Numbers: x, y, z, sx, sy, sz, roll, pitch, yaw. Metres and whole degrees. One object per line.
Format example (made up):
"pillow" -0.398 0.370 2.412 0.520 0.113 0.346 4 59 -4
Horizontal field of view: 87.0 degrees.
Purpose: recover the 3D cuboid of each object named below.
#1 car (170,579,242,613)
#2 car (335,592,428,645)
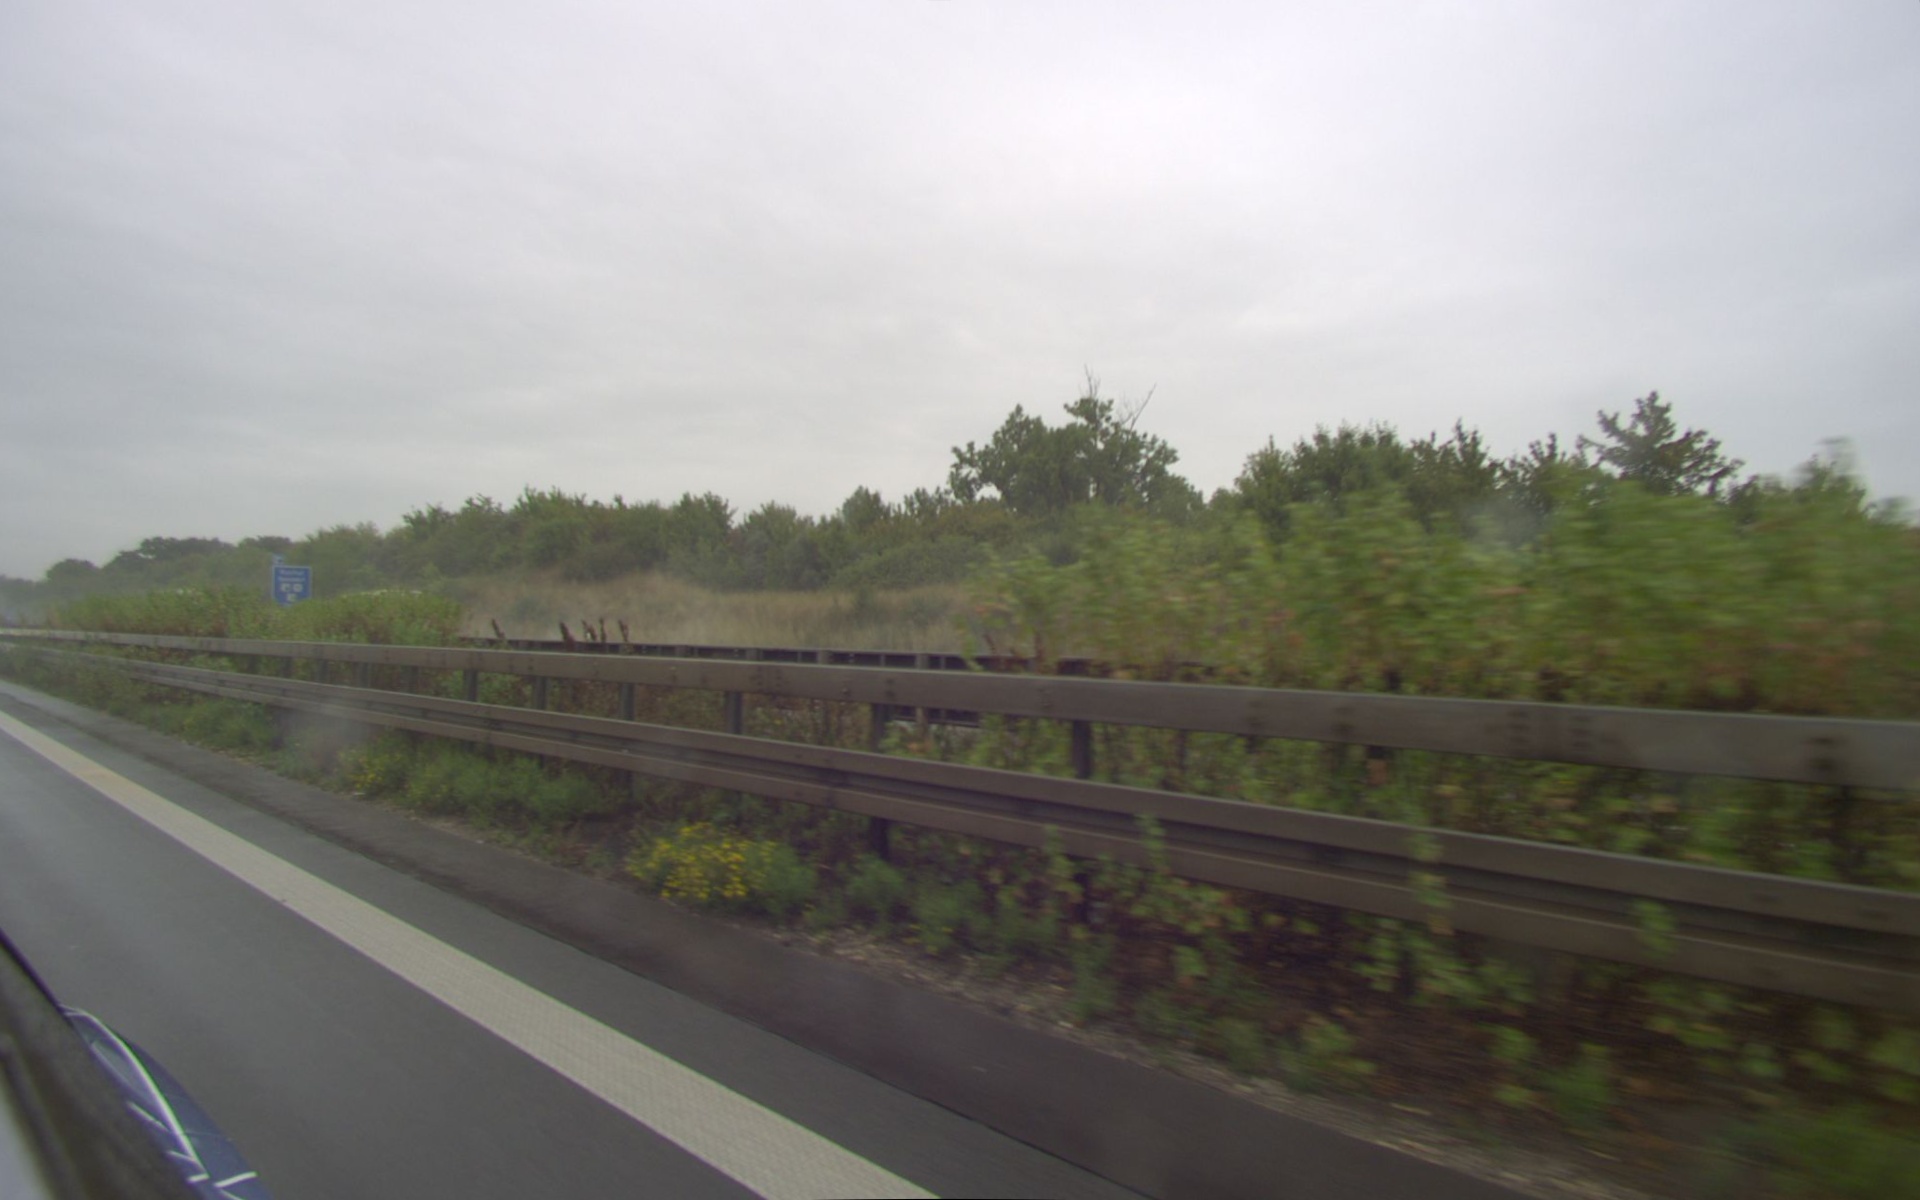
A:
"car" -54.432 -0.265 73.016 5.834 2.407 3.038 -1 0 42
"car" -22.486 0.679 39.280 4.366 1.937 1.809 -1 0 41
